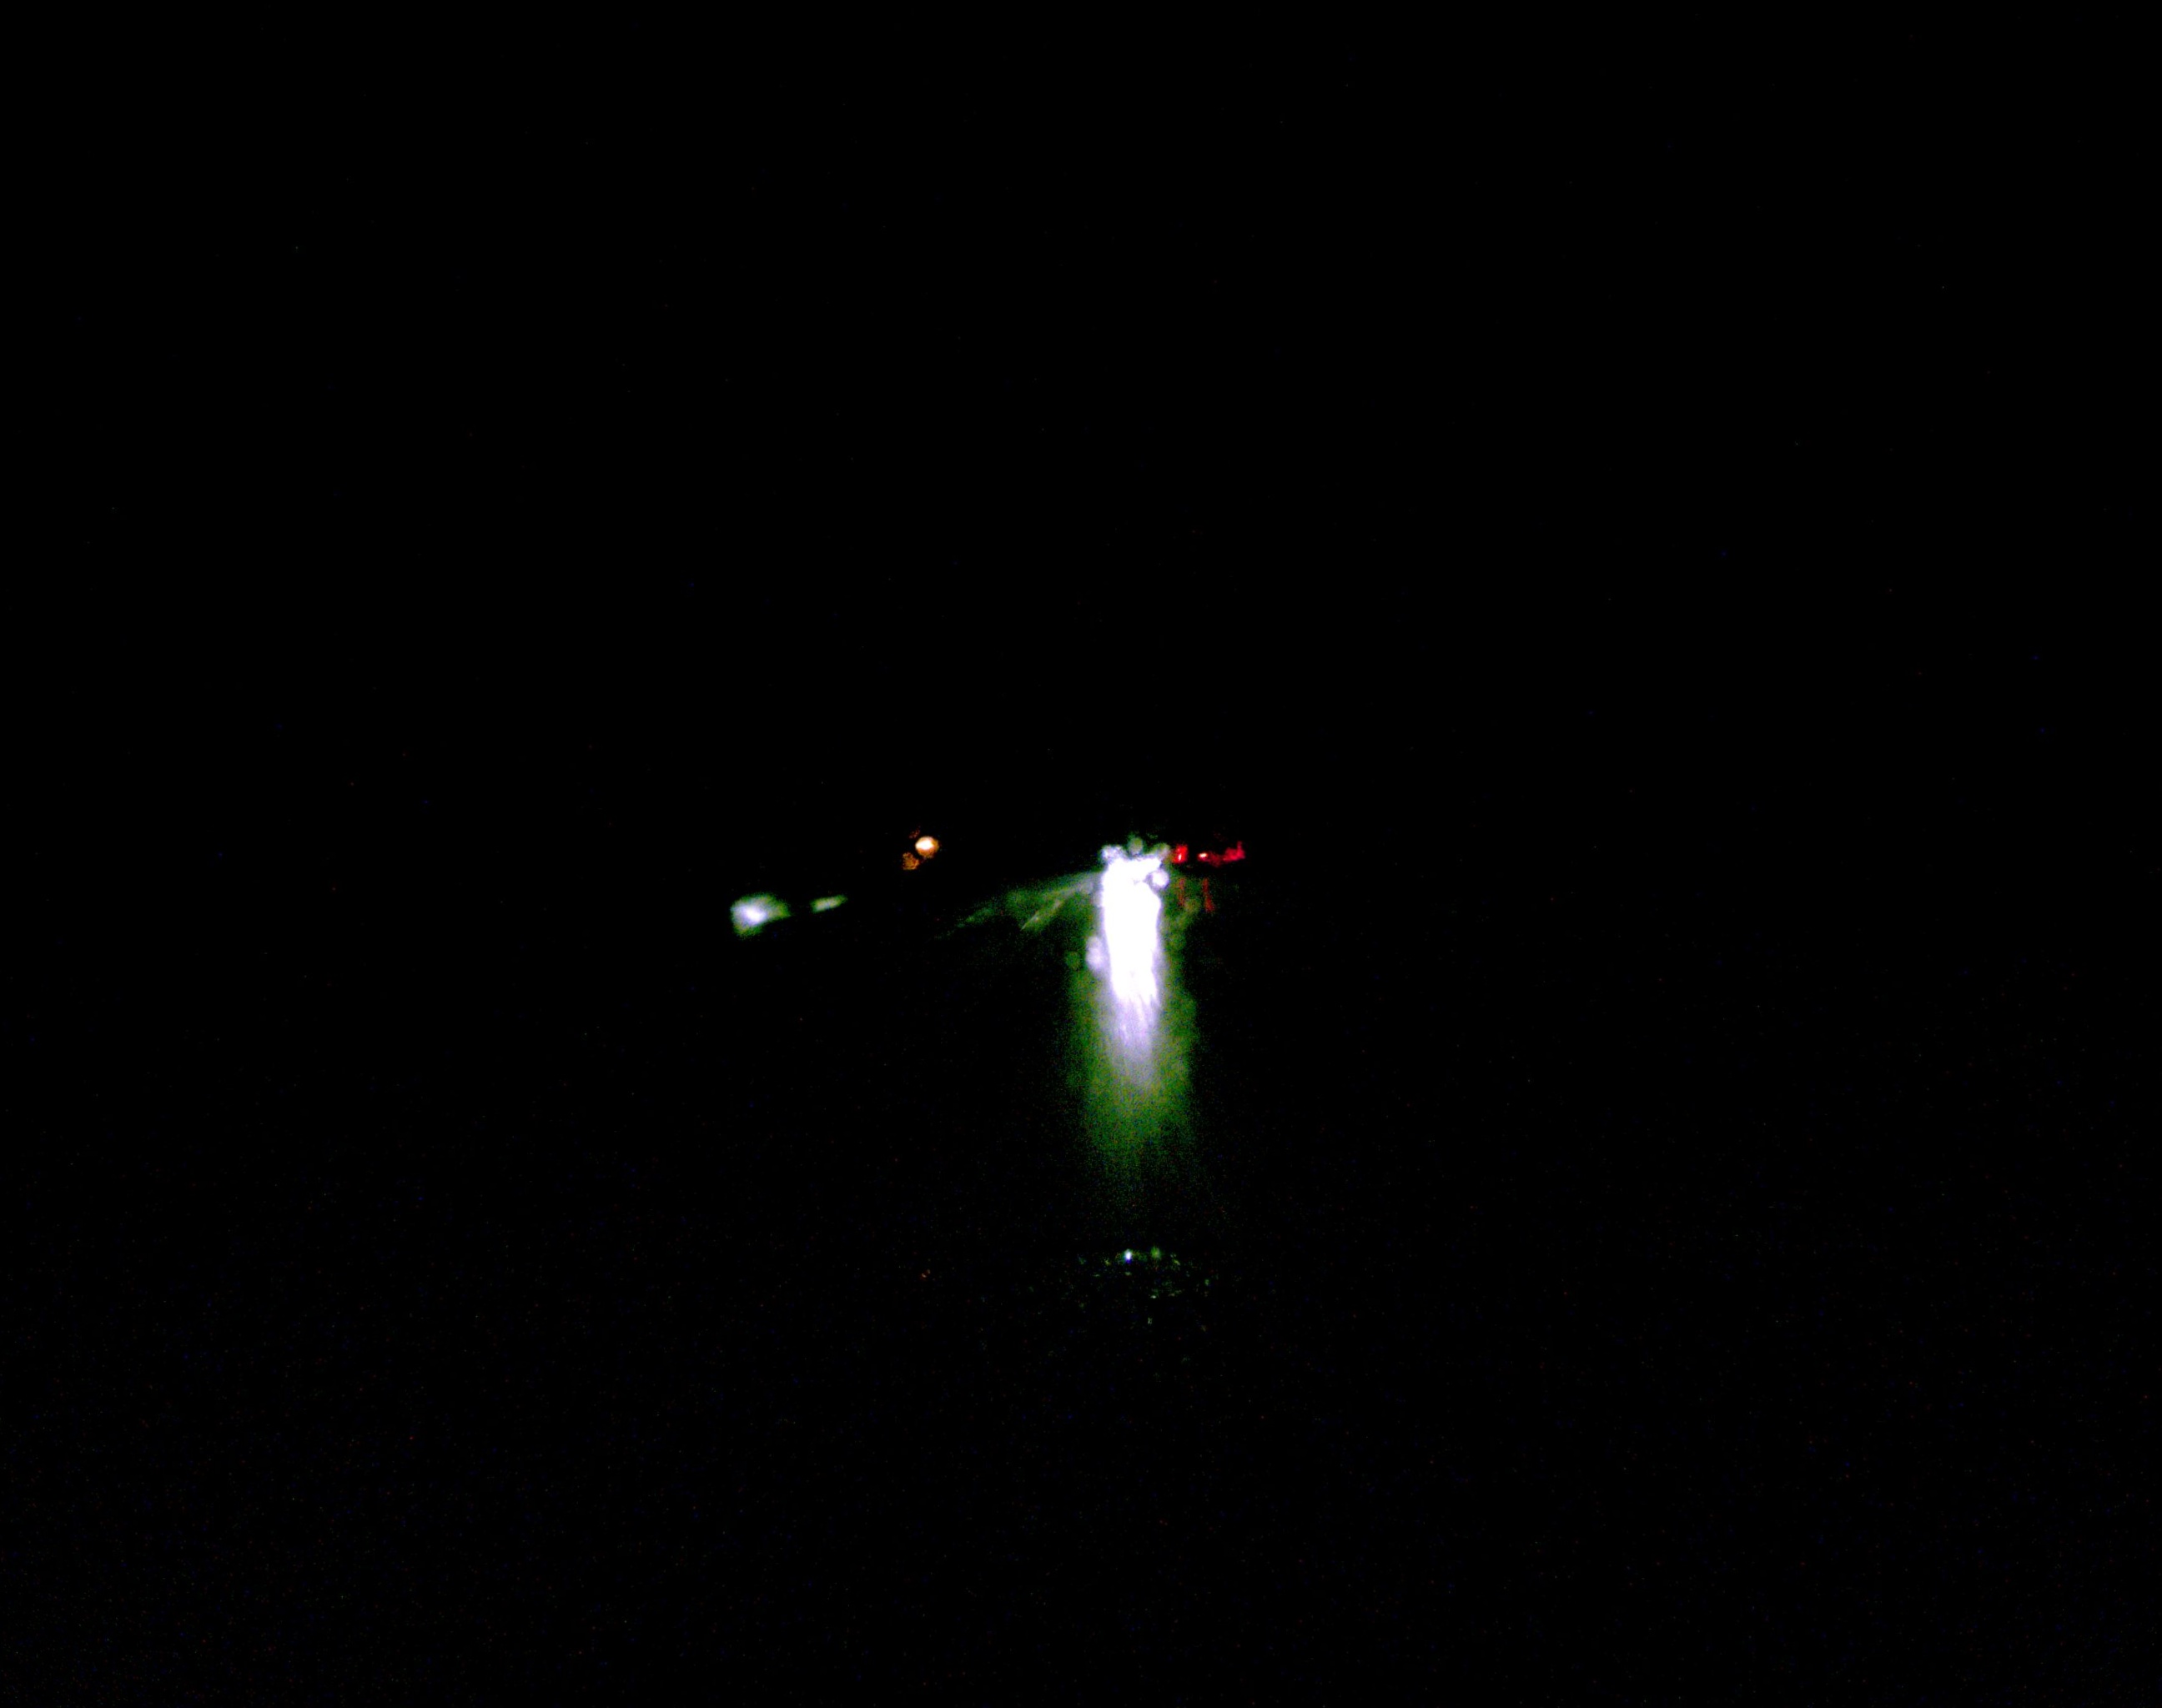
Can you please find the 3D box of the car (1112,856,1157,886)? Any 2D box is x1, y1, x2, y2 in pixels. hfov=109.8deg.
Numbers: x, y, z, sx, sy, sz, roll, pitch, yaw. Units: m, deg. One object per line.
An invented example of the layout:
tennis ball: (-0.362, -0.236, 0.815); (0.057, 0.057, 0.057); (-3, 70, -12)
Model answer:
car: (3.156, 0.966, 44.207); (1.997, 1.412, 4.003); (-4, 1, 12)

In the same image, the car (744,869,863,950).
car: (-7.623, 1.443, 21.320); (1.883, 1.799, 4.154); (-4, 1, -3)

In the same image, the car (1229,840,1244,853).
car: (23.908, -1.190, 116.770); (1.980, 1.768, 4.003); (-4, 1, 13)

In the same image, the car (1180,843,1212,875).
car: (8.092, 0.306, 53.341); (1.922, 2.045, 4.890); (-4, 1, 9)

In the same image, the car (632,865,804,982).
car: (-7.758, 1.368, 16.763); (1.883, 2.028, 4.388); (-4, 1, -5)
